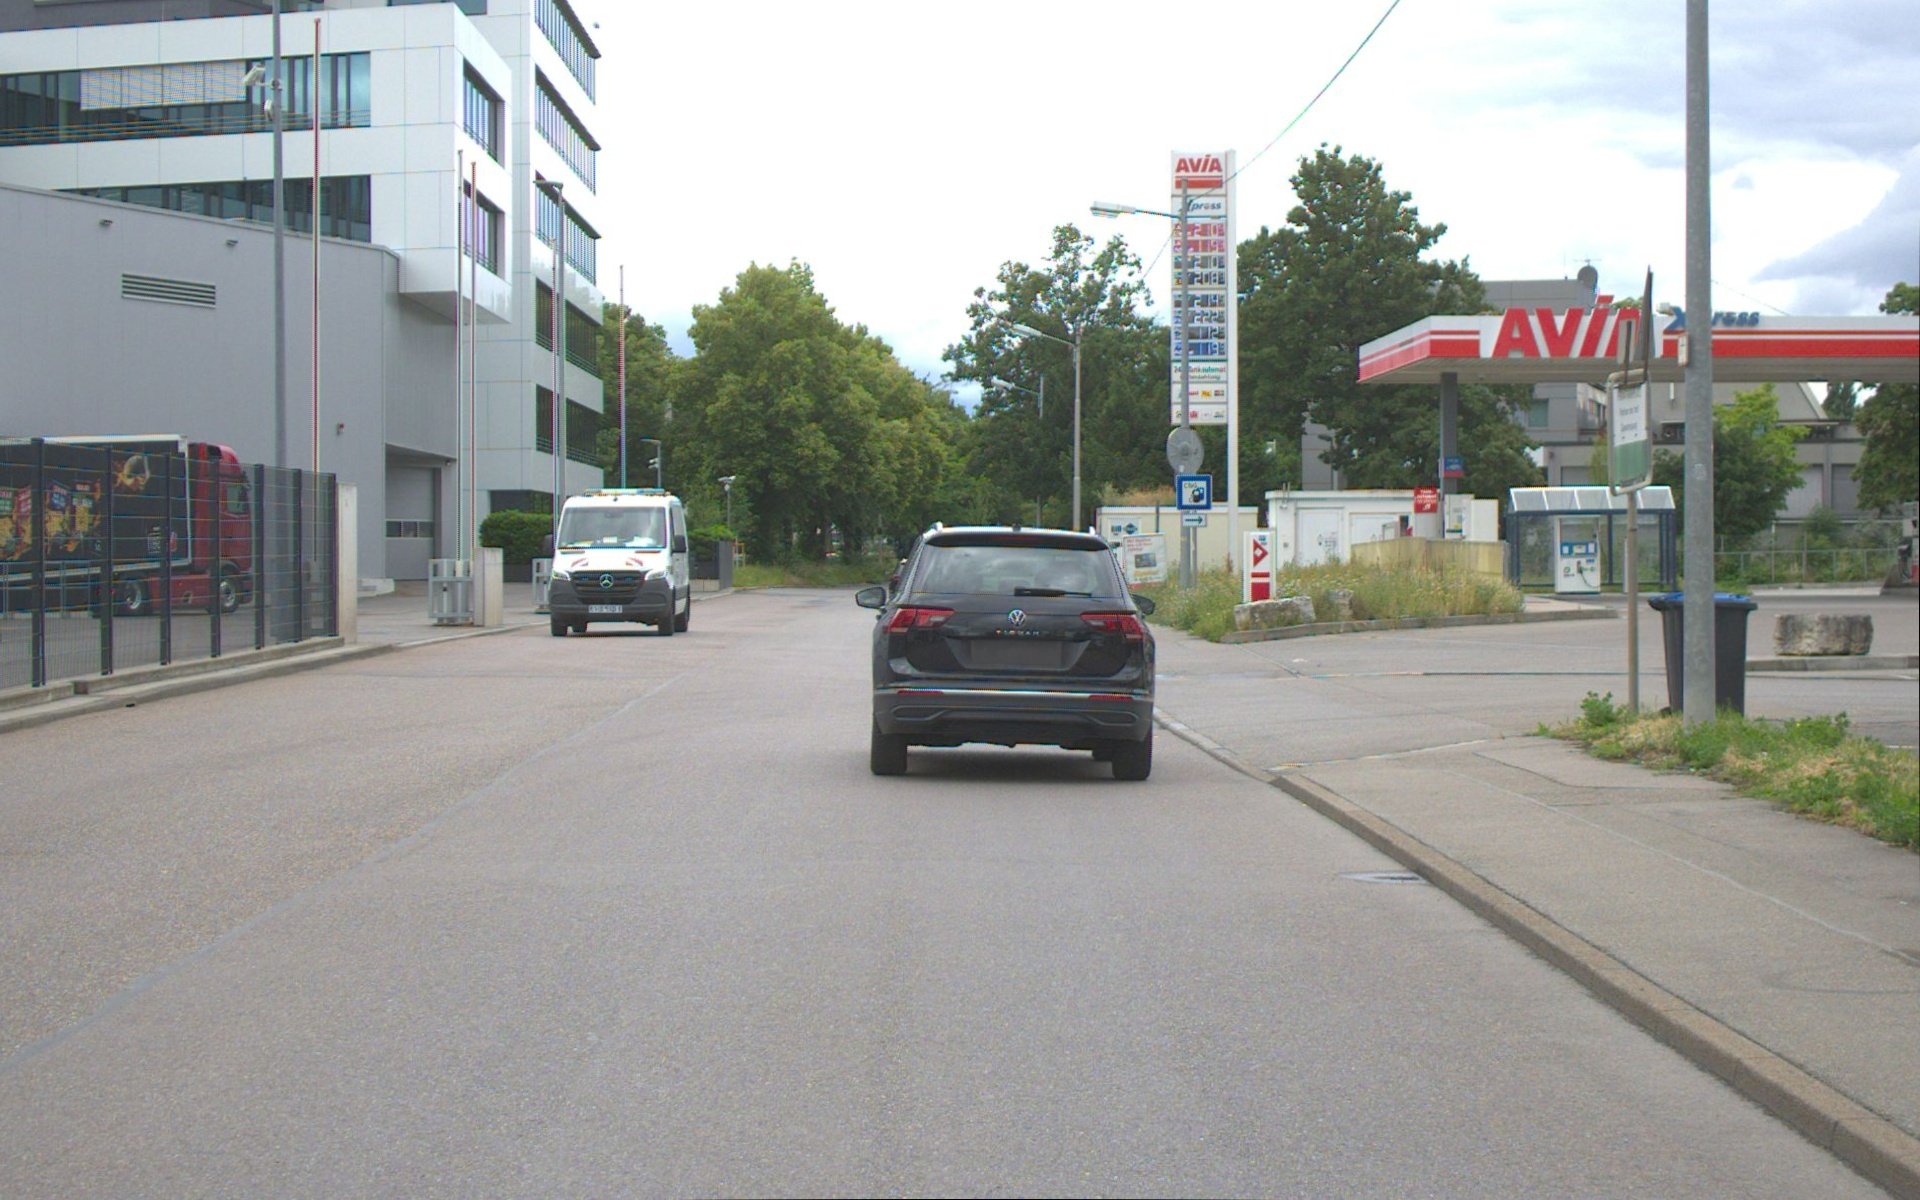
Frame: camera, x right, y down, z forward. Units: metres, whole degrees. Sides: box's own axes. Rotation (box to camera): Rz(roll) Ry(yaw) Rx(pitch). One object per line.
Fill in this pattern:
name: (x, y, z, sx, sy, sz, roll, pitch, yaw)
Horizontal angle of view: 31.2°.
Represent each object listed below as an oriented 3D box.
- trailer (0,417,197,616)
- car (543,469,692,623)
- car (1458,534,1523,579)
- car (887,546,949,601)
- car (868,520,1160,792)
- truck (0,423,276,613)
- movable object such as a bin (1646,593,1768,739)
trailer: (-20.374, -1.726, 70.886, 2.745, 4.017, 12.605, 1, 1, 20)
car: (-5.629, -0.913, 57.127, 1.993, 2.408, 5.257, 1, 1, -1)
car: (20.516, -1.692, 132.931, 1.995, 1.606, 4.439, -1, 1, 15)
car: (-1.253, -0.811, 103.825, 1.839, 1.611, 4.000, 0, 1, -1)
car: (0.381, 0.313, 22.821, 1.739, 1.612, 3.641, 2, 1, 2)
truck: (-18.300, -1.811, 76.589, 2.745, 4.017, 7.086, 1, 1, 20)
movable object such as a bin: (5.656, 0.493, 26.052, 0.714, 1.077, 0.663, 0, 1, -7)
